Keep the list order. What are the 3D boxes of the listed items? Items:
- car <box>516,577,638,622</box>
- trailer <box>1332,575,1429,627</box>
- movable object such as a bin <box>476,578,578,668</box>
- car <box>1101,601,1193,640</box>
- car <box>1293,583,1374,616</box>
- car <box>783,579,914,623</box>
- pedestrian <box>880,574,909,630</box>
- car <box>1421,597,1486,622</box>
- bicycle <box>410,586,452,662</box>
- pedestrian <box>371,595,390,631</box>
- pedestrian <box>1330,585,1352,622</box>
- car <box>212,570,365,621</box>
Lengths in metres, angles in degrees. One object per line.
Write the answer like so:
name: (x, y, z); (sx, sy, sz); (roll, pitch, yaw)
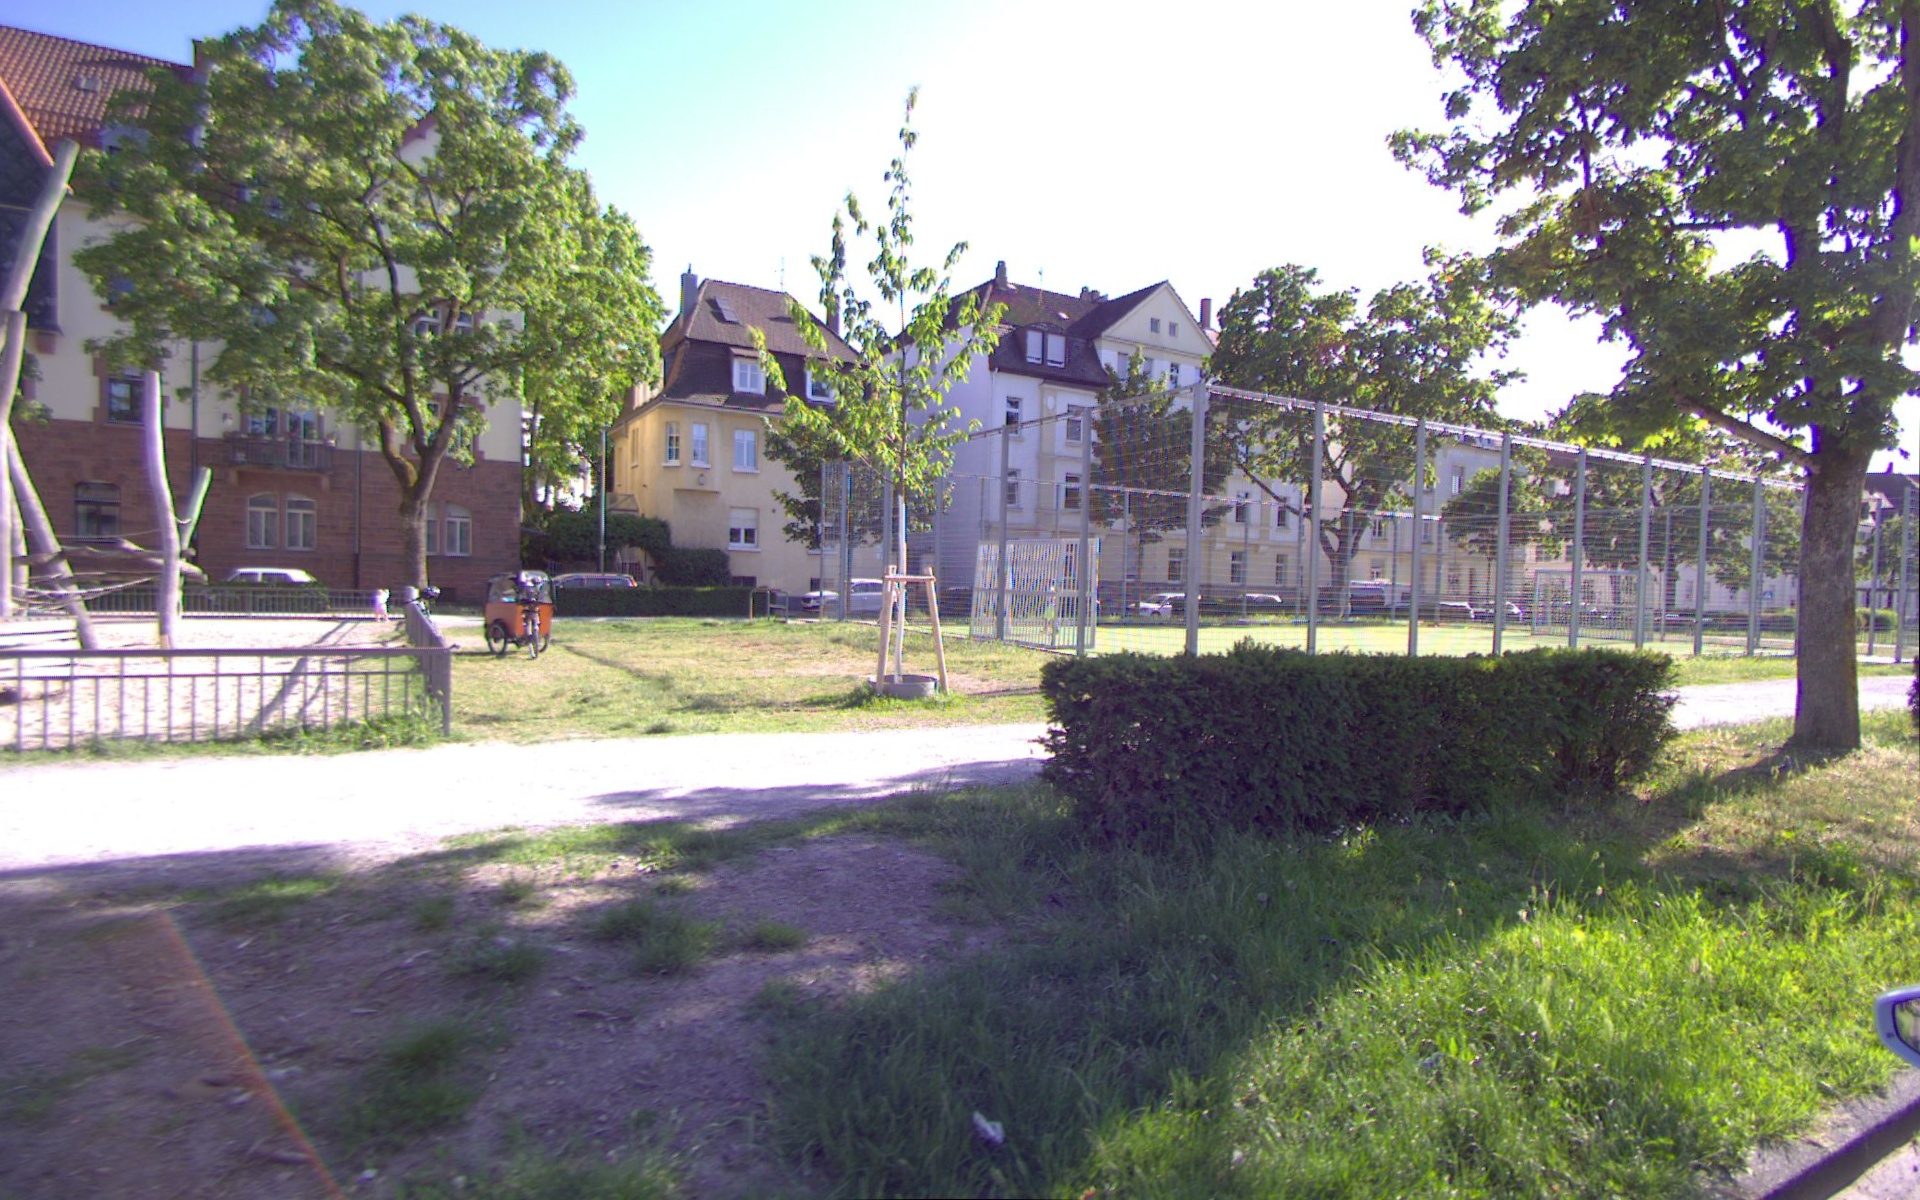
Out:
car: (-13.989, -0.025, 36.725); (3.953, 1.530, 1.785); (1, 2, -30)
trailer: (25.292, 0.070, 60.369); (5.736, 2.909, 2.331); (1, 2, -31)
movable object such as a bin: (-6.664, 0.314, 15.388); (1.045, 1.258, 2.316); (0, 1, -33)
car: (9.418, 1.027, 50.521); (4.435, 1.801, 1.785); (1, 2, -30)
car: (19.100, -0.022, 51.359); (3.953, 1.530, 1.785); (1, 2, -30)
car: (-4.619, 0.051, 41.997); (5.121, 1.674, 1.872); (1, 2, -30)
pedestrian: (-1.616, 0.041, 24.864); (0.637, 1.336, 0.650); (2, 2, -1)
car: (31.600, 0.614, 64.324); (3.952, 1.530, 1.786); (1, 2, -30)
bicycle: (-8.530, 0.361, 16.159); (0.494, 1.122, 1.785); (0, 2, -31)
pedestrian: (-13.334, 0.296, 23.125); (0.354, 0.815, 0.481); (1, 2, -28)
pedestrian: (17.237, 0.159, 45.439); (0.642, 1.683, 0.645); (1, 1, -30)
car: (-21.435, -0.142, 32.264); (3.953, 1.530, 1.785); (1, 2, -30)
